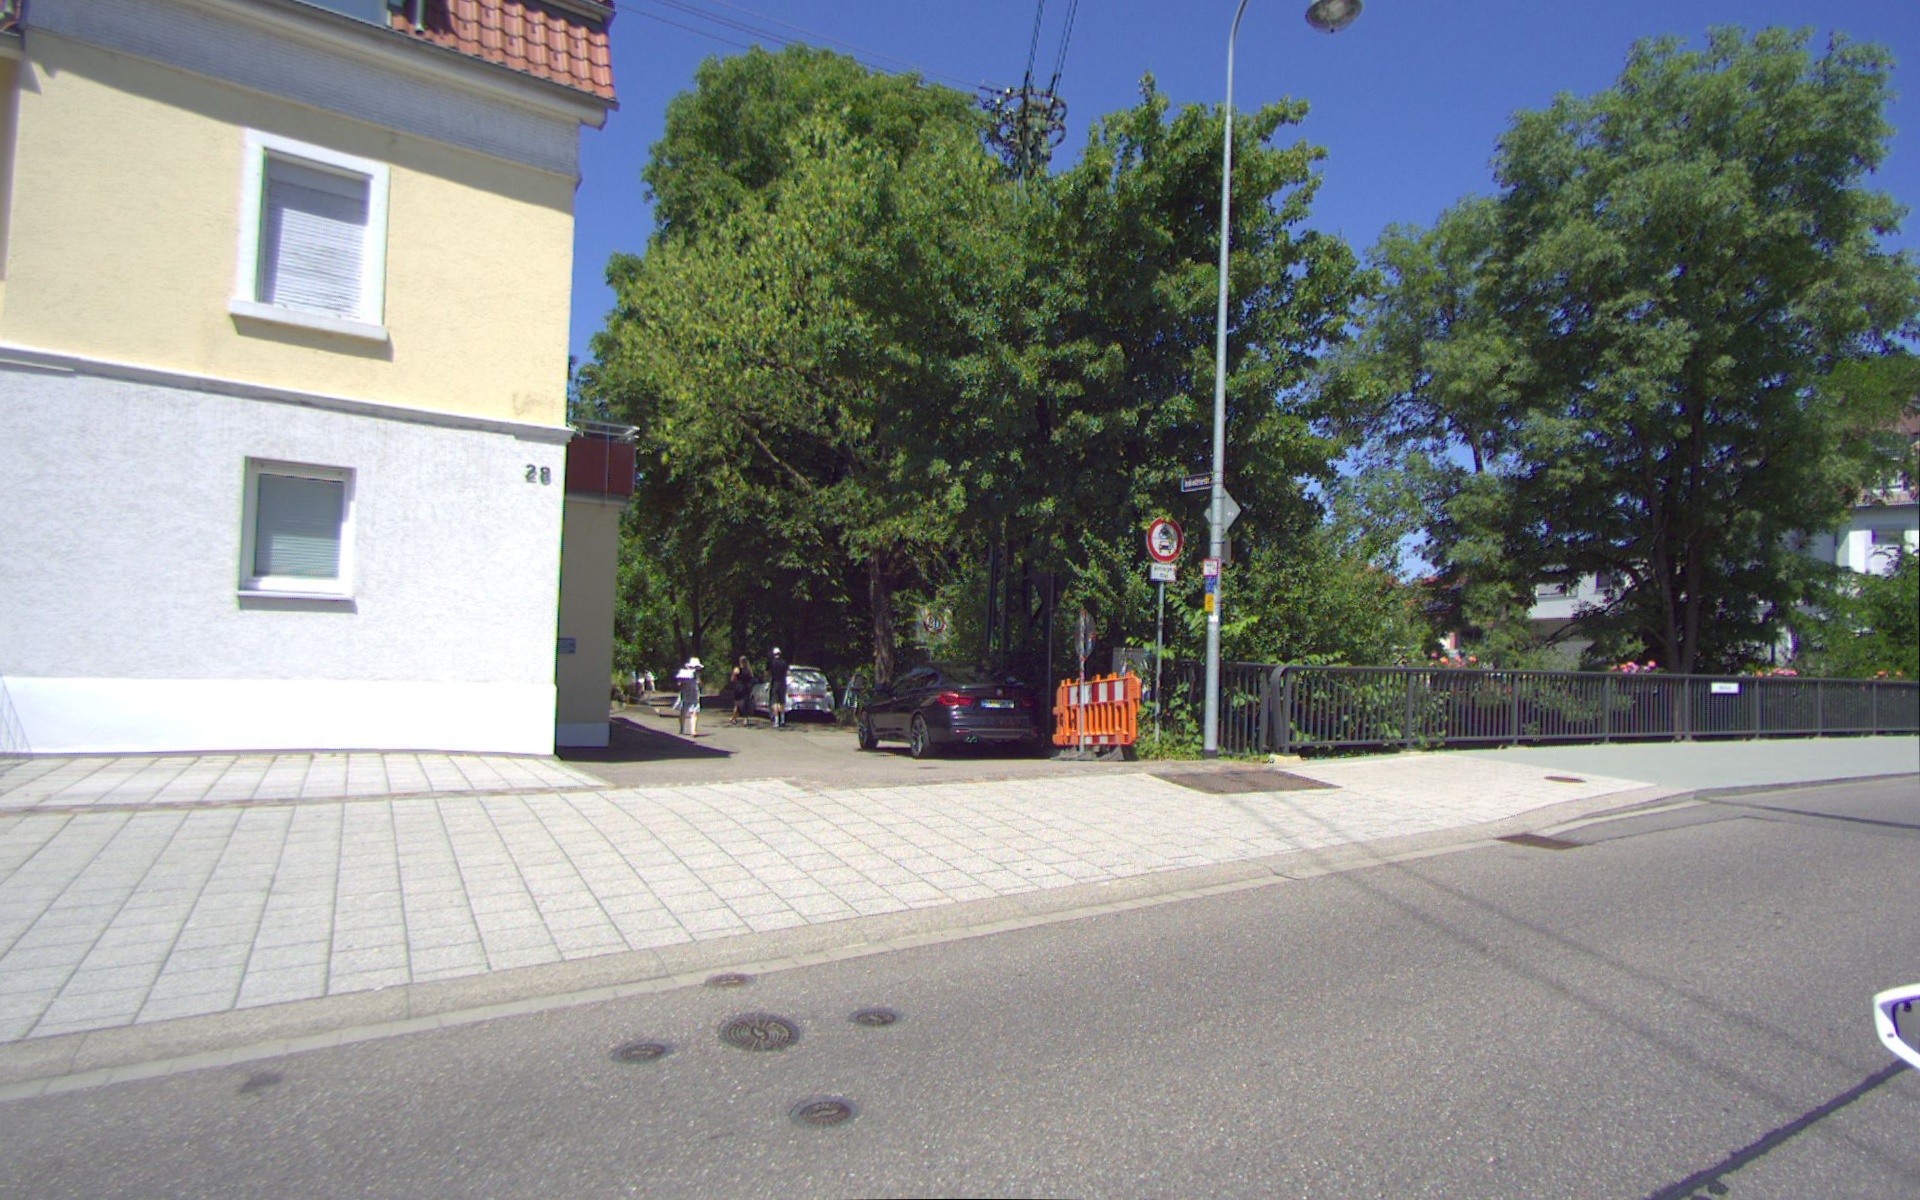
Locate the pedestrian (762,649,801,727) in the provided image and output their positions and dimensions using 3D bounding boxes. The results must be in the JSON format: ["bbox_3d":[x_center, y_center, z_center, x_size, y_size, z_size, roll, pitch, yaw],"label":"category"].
[{"bbox_3d":[-4.357,2.125,24.452,0.695,1.845,0.850,2,-3,-25],"label":"pedestrian"}]

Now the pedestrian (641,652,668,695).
[{"bbox_3d":[-13.200,3.180,43.417,0.842,1.845,0.701,-2,-4,39],"label":"pedestrian"}]

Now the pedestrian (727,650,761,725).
[{"bbox_3d":[-5.195,2.090,24.124,0.593,1.746,0.850,2,-3,-25],"label":"pedestrian"}]

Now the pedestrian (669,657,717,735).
[{"bbox_3d":[-5.395,1.912,20.245,0.730,1.523,0.905,2,-3,-27],"label":"pedestrian"}]

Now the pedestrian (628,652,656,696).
[{"bbox_3d":[-13.481,3.117,42.587,0.842,1.845,0.732,-2,-4,39],"label":"pedestrian"}]

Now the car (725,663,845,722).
[{"bbox_3d":[-5.005,2.566,28.283,1.978,1.496,3.967,5,-5,-31],"label":"car"}]

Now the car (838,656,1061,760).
[{"bbox_3d":[-0.360,1.766,16.490,1.973,1.436,4.517,2,-7,-25],"label":"car"}]

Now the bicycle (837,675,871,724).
[{"bbox_3d":[-2.872,2.667,27.090,0.551,1.257,1.884,2,-4,-16],"label":"bicycle"}]
